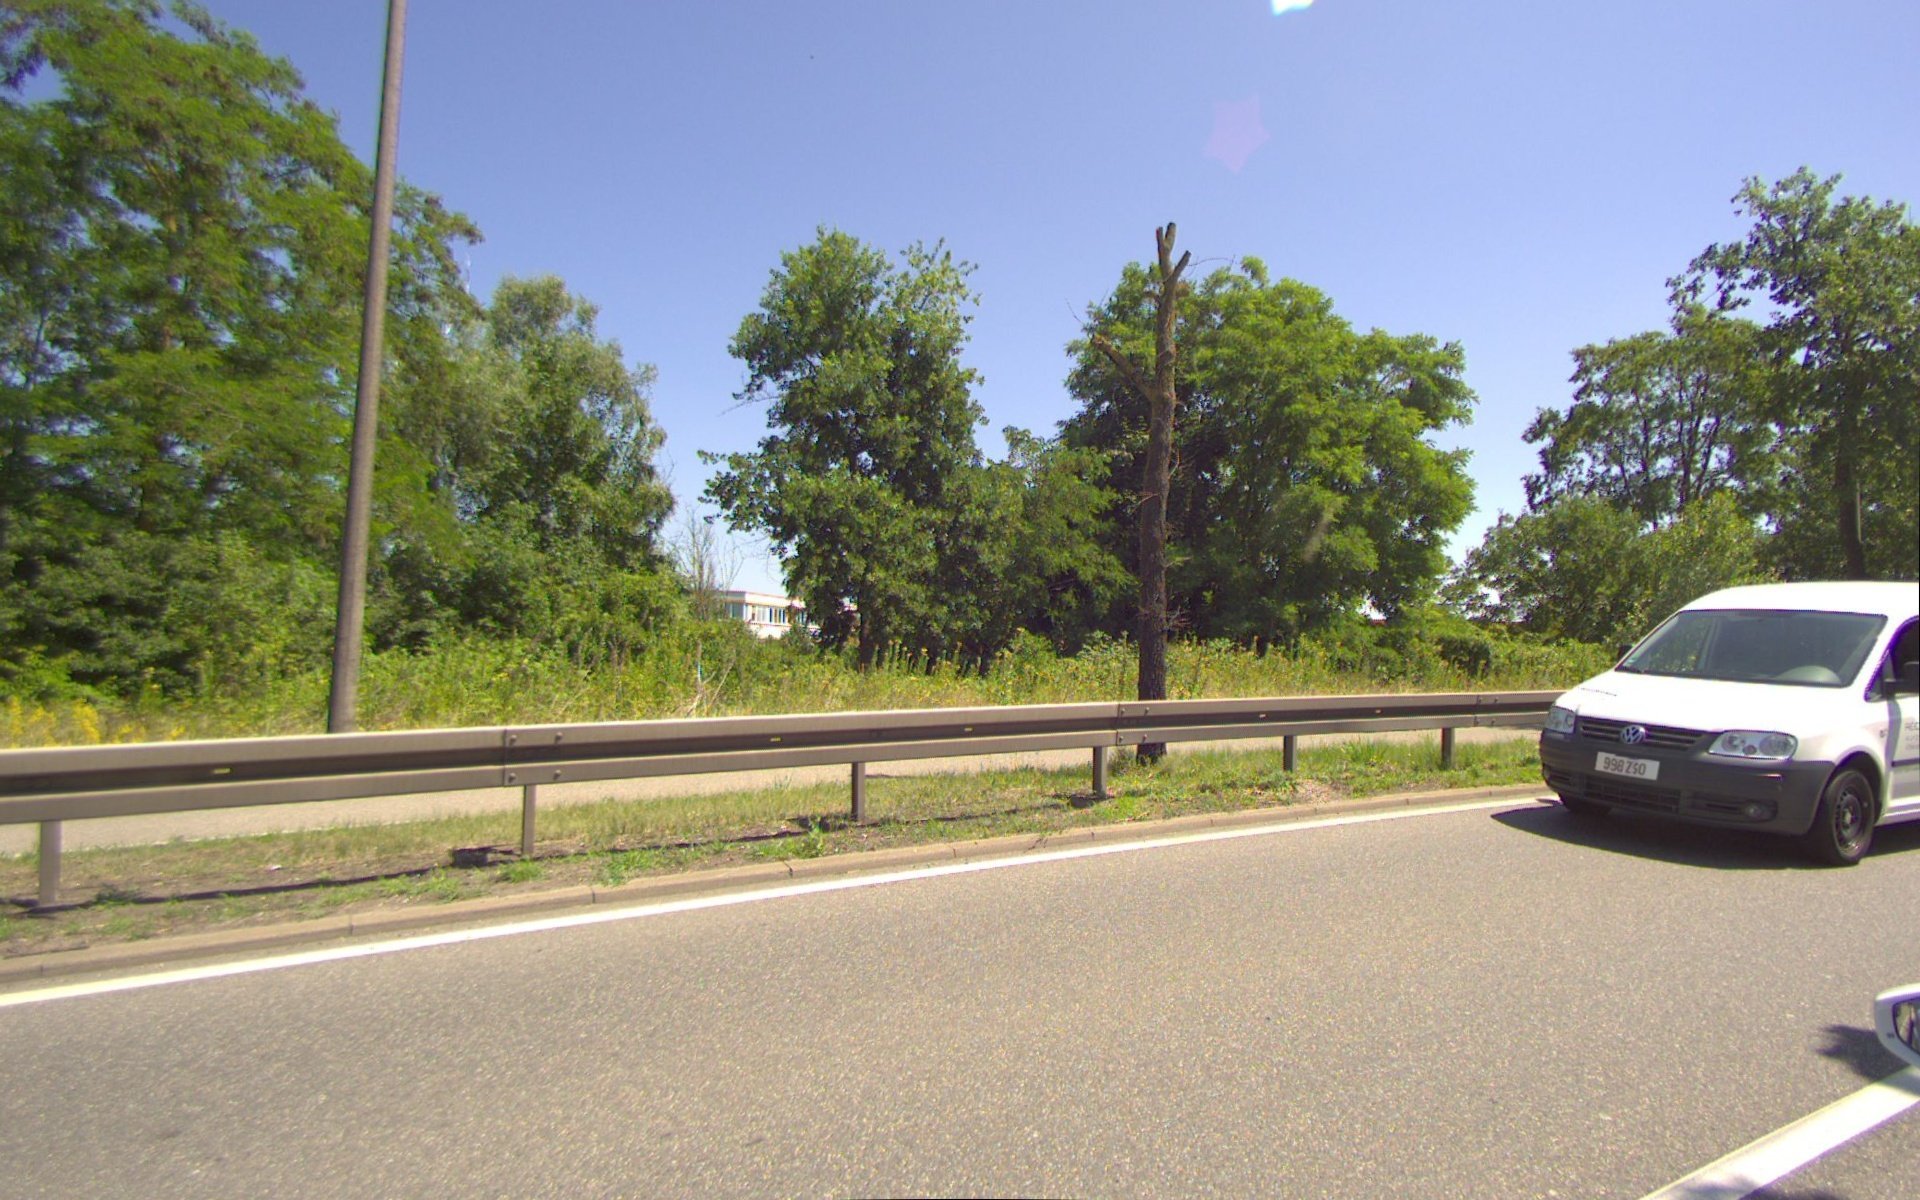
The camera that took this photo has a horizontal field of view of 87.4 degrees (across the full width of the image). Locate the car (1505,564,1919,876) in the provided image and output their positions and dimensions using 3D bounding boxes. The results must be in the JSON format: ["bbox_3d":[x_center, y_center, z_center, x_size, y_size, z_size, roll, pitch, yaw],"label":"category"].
[{"bbox_3d":[6.309,0.732,7.470,4.330,1.787,1.740,1,0,-25],"label":"car"}]
